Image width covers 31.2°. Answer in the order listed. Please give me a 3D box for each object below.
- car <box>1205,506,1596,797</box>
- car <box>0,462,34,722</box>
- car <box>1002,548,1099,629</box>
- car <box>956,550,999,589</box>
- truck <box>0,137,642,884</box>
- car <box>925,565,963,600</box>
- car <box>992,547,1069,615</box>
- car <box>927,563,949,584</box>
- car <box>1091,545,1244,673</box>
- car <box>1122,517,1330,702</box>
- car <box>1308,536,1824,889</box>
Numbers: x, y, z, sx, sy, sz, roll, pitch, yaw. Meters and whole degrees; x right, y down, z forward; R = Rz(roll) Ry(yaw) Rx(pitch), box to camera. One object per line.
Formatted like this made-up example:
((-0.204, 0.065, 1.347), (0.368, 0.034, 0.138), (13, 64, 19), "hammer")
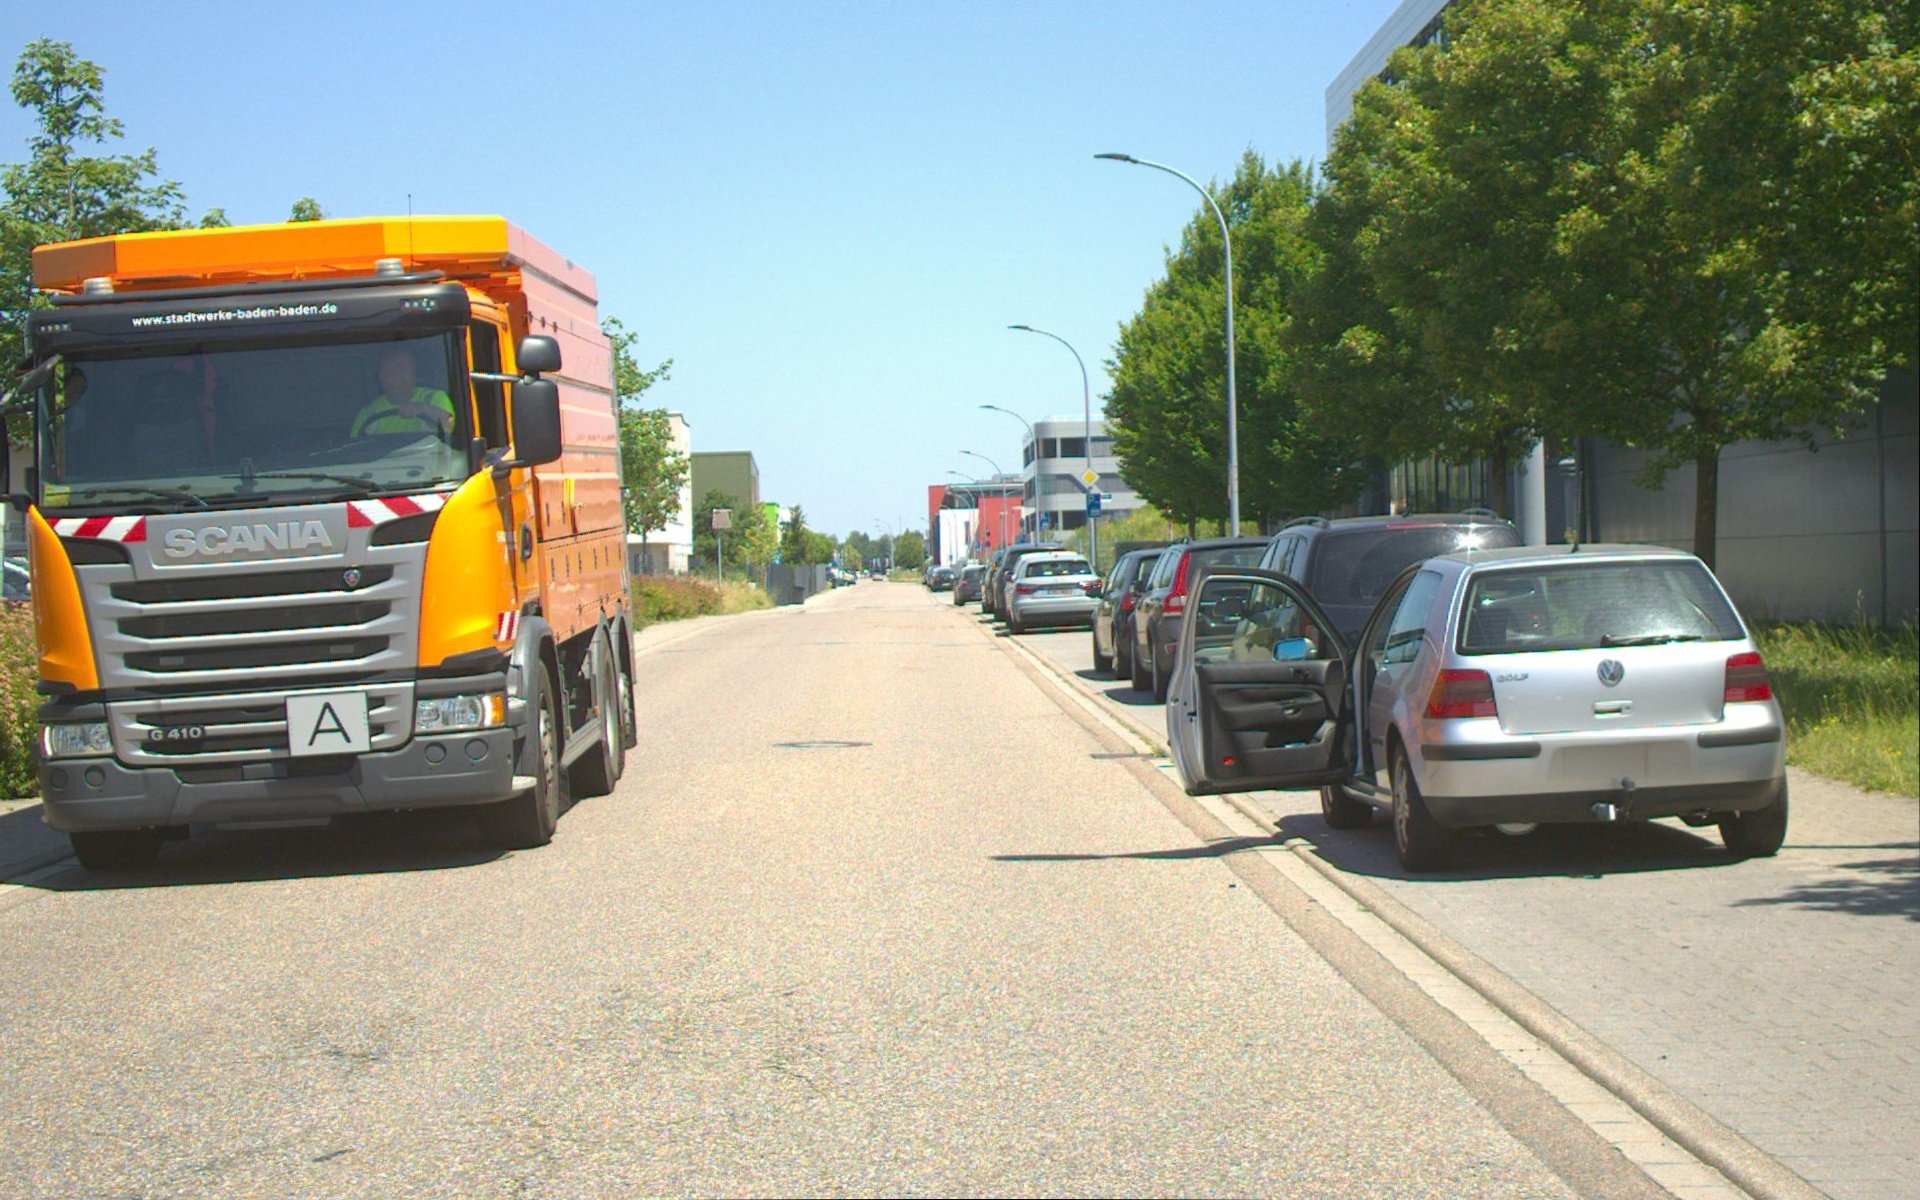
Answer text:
((2.771, 0.281, 22.469), (1.678, 1.680, 4.001), (-2, 1, -5), "car")
((-11.935, -0.019, 34.532), (4.714, 2.577, 2.000), (-2, 1, -4), "car")
((1.643, -0.228, 63.424), (1.585, 1.405, 3.500), (-2, 1, -1), "car")
((0.638, -1.145, 127.808), (1.495, 1.405, 3.500), (-2, 1, -1), "car")
((-3.530, -0.507, 20.767), (2.448, 3.501, 8.273), (-3, 1, -1), "truck")
((-0.672, -0.736, 143.995), (1.495, 1.405, 3.500), (-2, 1, -1), "car")
((1.524, -0.433, 75.173), (1.495, 1.405, 3.500), (-2, 1, -1), "car")
((-1.539, -1.817, 238.803), (1.495, 1.405, 3.500), (-2, 1, -1), "car")
((2.414, 0.081, 40.664), (1.495, 1.405, 3.500), (-2, 1, -1), "car")
((2.596, 0.063, 34.331), (1.721, 1.688, 3.984), (-2, 1, 0), "car")
((2.773, 0.464, 16.492), (1.718, 1.445, 3.646), (-2, 0, -1), "car")
